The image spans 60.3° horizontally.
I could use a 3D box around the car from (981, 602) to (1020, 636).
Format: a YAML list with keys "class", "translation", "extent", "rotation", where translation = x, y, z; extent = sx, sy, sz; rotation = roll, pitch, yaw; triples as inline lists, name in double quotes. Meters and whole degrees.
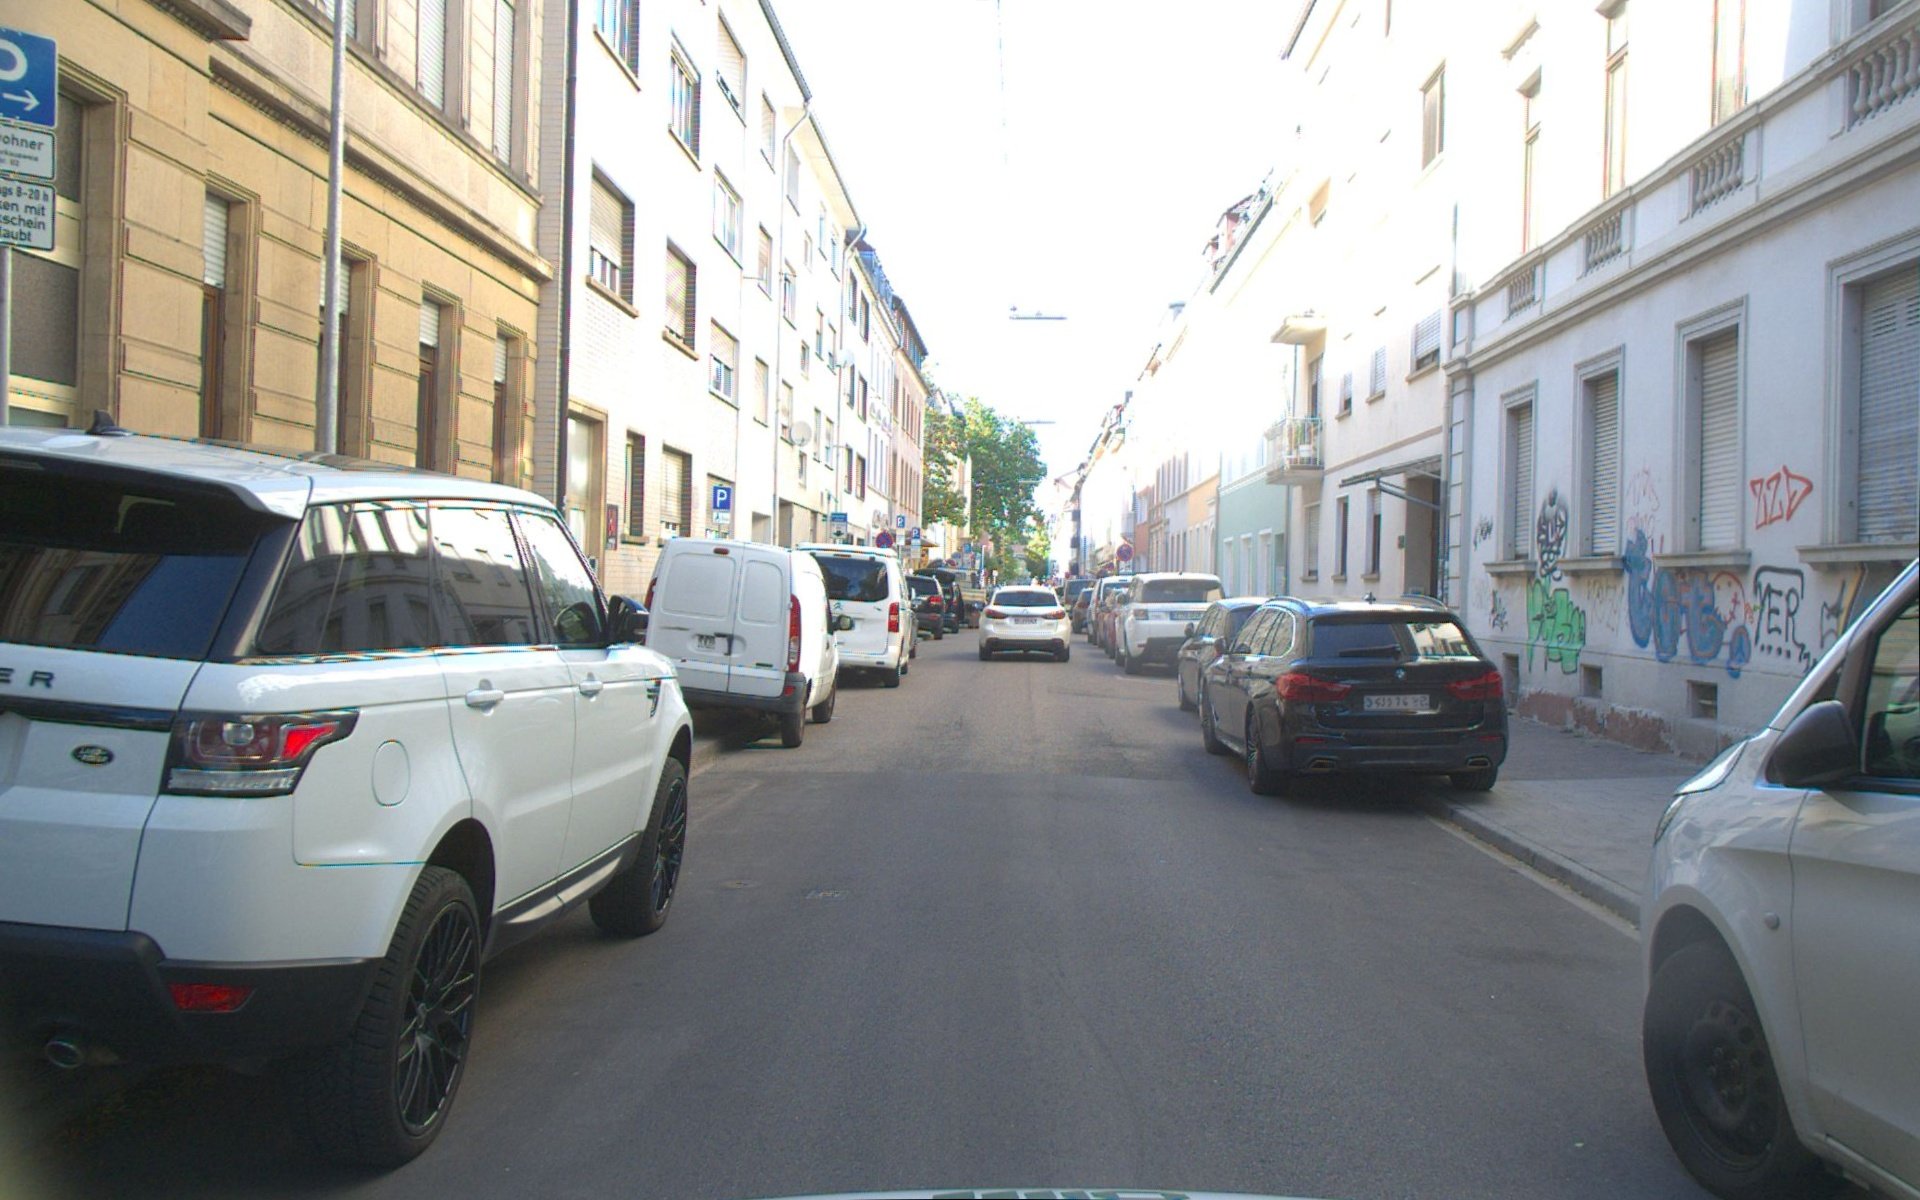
- class: "car"
  translation: [1.816, 0.845, 74.611]
  extent: [1.722, 1.440, 4.001]
  rotation: [-1, 0, 1]

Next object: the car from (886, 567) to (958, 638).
- class: "car"
  translation: [-1.085, 0.022, 47.243]
  extent: [1.842, 1.785, 4.542]
  rotation: [4, 1, -1]

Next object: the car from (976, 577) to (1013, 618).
- class: "car"
  translation: [1.632, -0.133, 79.072]
  extent: [1.613, 1.900, 4.000]
  rotation: [1, 0, 0]

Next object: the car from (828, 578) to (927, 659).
- class: "car"
  translation: [-1.606, 0.343, 33.432]
  extent: [1.671, 1.475, 4.302]
  rotation: [2, 0, 1]

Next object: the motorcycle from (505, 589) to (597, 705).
- class: "motorcycle"
  translation: [-4.553, 0.490, 18.529]
  extent: [0.424, 1.206, 2.122]
  rotation: [2, 0, 1]

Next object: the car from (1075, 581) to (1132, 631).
- class: "car"
  translation: [4.913, 0.162, 56.983]
  extent: [1.703, 1.604, 4.379]
  rotation: [1, 1, 2]

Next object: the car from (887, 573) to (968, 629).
- class: "car"
  translation: [-1.032, 0.019, 56.145]
  extent: [2.390, 1.735, 5.244]
  rotation: [2, 0, 2]

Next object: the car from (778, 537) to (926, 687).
- class: "car"
  translation: [-1.563, 0.131, 25.627]
  extent: [1.855, 1.992, 4.782]
  rotation: [3, 1, 0]

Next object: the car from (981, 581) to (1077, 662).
- class: "car"
  translation: [1.429, 0.401, 33.491]
  extent: [1.795, 1.512, 4.059]
  rotation: [1, 0, 3]

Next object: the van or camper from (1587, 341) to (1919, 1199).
- class: "van or camper"
  translation: [2.893, 0.519, 2.678]
  extent: [1.855, 2.048, 5.032]
  rotation: [1, 1, 0]

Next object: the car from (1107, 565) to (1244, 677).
- class: "car"
  translation: [3.796, 0.307, 29.872]
  extent: [1.964, 1.814, 4.940]
  rotation: [1, 1, 2]

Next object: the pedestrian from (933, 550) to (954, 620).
- class: "pedestrian"
  translation: [-0.534, -0.477, 53.555]
  extent: [0.606, 2.268, 0.688]
  rotation: [1, -1, 2]

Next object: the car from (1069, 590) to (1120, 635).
- class: "car"
  translation: [5.100, 0.438, 63.002]
  extent: [1.706, 1.596, 4.033]
  rotation: [1, 1, 2]

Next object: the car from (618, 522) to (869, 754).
- class: "car"
  translation: [-2.037, 0.299, 16.700]
  extent: [1.708, 1.908, 4.091]
  rotation: [5, 1, 2]

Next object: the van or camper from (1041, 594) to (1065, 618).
- class: "van or camper"
  translation: [7.835, 0.530, 138.980]
  extent: [1.952, 1.959, 4.001]
  rotation: [1, -1, 3]

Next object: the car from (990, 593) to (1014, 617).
- class: "car"
  translation: [2.951, 0.358, 116.177]
  extent: [1.591, 1.625, 3.581]
  rotation: [2, 0, 3]

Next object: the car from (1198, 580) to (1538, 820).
- class: "car"
  translation: [3.179, 0.670, 13.890]
  extent: [1.777, 1.546, 4.729]
  rotation: [3, 1, 2]

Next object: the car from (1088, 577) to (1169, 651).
- class: "car"
  translation: [4.142, 0.314, 41.026]
  extent: [1.548, 1.660, 3.682]
  rotation: [3, 1, 0]

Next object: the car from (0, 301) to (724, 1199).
- class: "car"
  translation: [-2.222, 0.398, 5.616]
  extent: [1.980, 2.049, 4.545]
  rotation: [1, 0, 2]

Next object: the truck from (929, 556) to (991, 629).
- class: "truck"
  translation: [-0.053, -0.245, 63.870]
  extent: [2.113, 2.635, 6.246]
  rotation: [1, -1, -2]

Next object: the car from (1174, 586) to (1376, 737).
- class: "car"
  translation: [3.603, 0.640, 19.538]
  extent: [1.710, 1.473, 3.871]
  rotation: [3, 1, 2]

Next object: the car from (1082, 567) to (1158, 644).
- class: "car"
  translation: [4.380, 0.136, 45.892]
  extent: [1.745, 1.996, 4.337]
  rotation: [1, 0, 1]

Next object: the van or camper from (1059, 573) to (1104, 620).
- class: "van or camper"
  translation: [5.556, -0.150, 75.934]
  extent: [1.738, 2.072, 4.570]
  rotation: [0, 0, 0]

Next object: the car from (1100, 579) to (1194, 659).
- class: "car"
  translation: [4.046, 0.368, 36.242]
  extent: [1.706, 1.596, 4.033]
  rotation: [1, 1, 2]
